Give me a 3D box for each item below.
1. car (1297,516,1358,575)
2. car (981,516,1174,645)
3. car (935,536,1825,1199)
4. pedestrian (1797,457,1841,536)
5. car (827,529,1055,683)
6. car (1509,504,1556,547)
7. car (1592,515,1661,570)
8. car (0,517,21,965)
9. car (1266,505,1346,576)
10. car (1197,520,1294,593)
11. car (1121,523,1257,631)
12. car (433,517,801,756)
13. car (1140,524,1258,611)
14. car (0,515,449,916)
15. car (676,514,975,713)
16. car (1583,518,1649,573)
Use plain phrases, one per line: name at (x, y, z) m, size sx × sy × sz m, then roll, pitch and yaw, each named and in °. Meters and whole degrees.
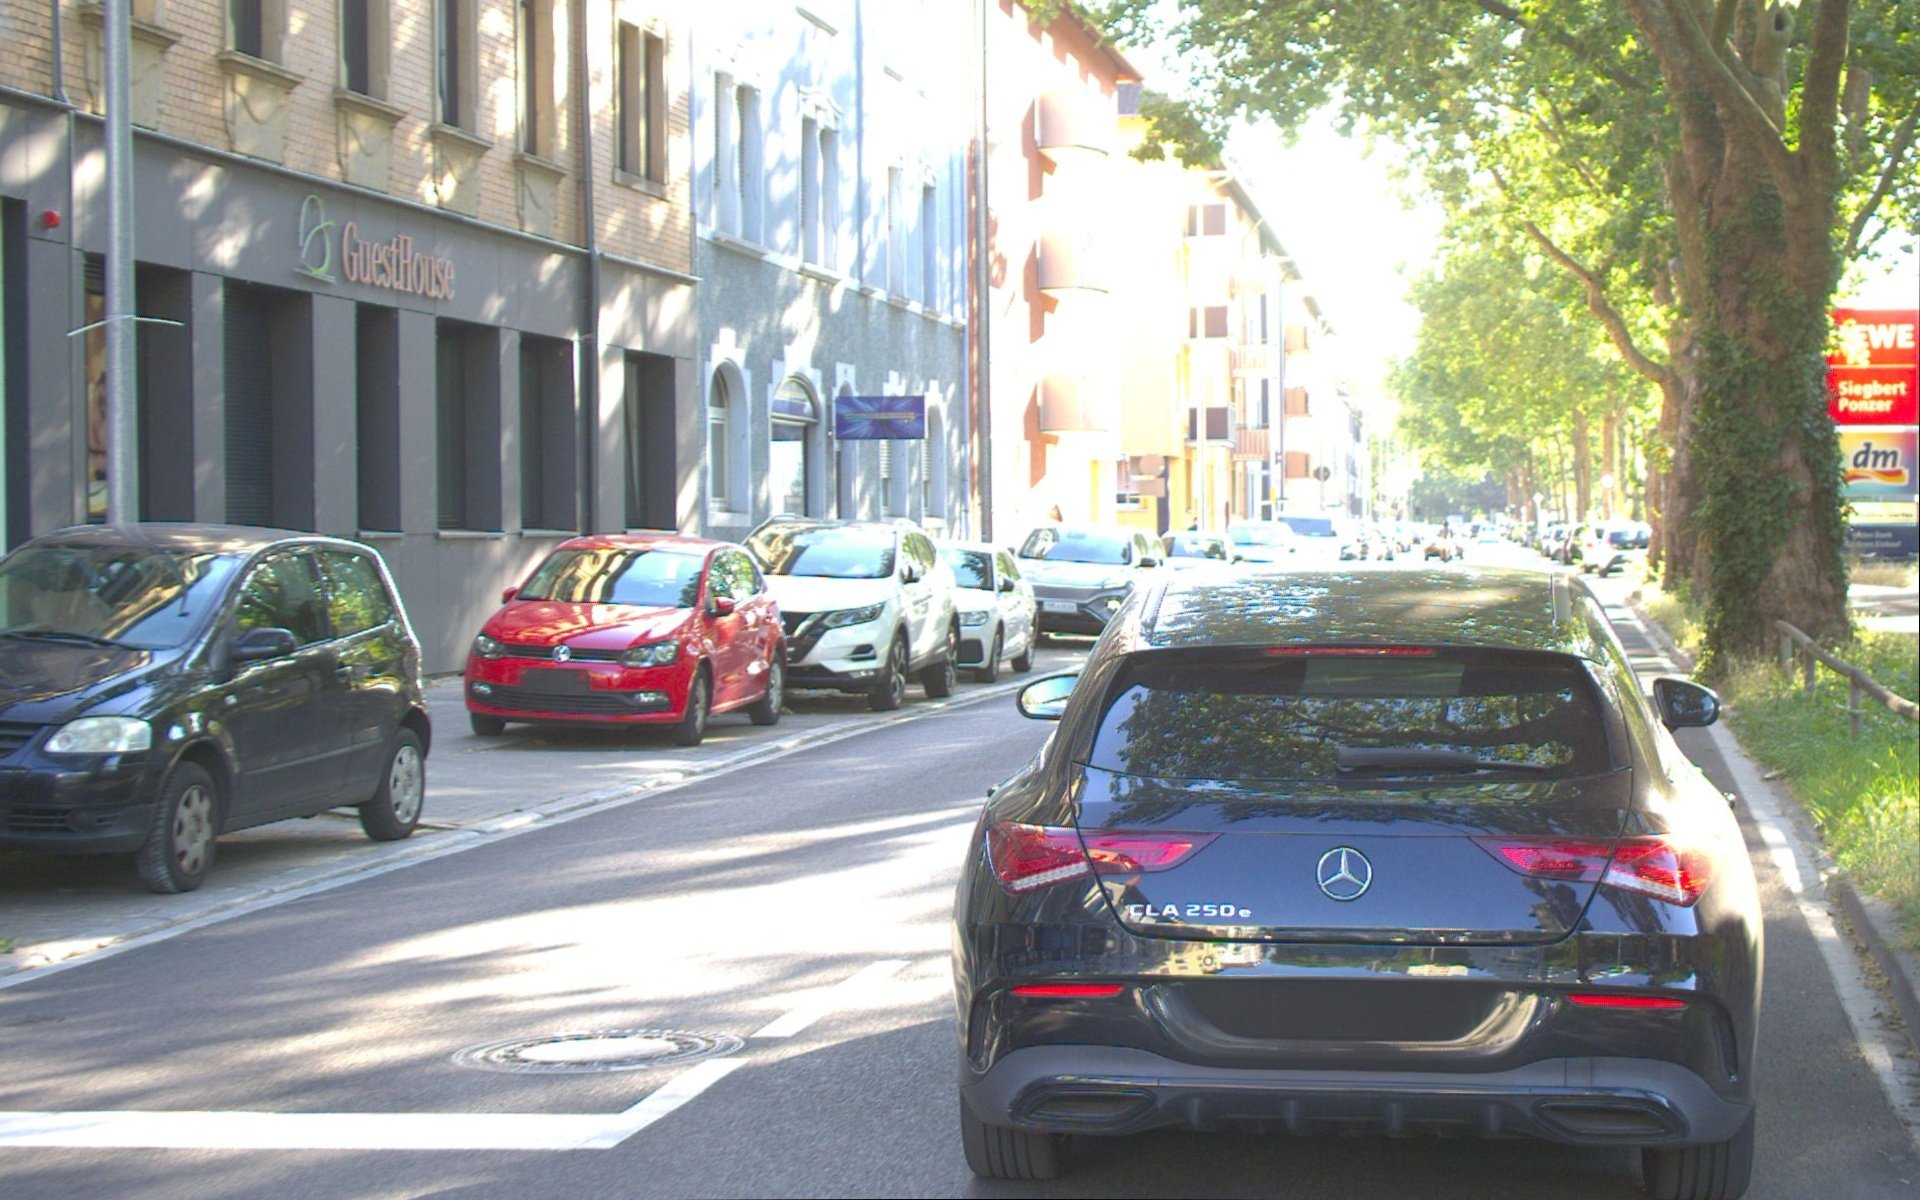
car at (11.616, -1.746, 108.377) m, size 1.746 × 1.781 × 4.548 m, roll 1°, pitch 2°, yaw 8°
car at (1.653, -0.310, 46.749) m, size 1.909 × 1.636 × 4.575 m, roll 1°, pitch 2°, yaw 11°
car at (0.860, 0.592, 8.843) m, size 1.744 × 1.438 × 3.969 m, roll 1°, pitch 2°, yaw 1°
pedestrian at (19.450, -2.345, 77.845) m, size 0.767 × 1.755 × 0.664 m, roll -2°, pitch 1°, yaw -2°
car at (-0.140, 0.023, 36.460) m, size 1.678 × 1.491 × 3.870 m, roll 1°, pitch 2°, yaw 11°
car at (28.337, -3.675, 170.284) m, size 1.994 × 2.007 × 3.999 m, roll 0°, pitch 0°, yaw 6°
car at (18.967, -1.629, 97.939) m, size 1.635 × 1.463 × 4.020 m, roll -2°, pitch 0°, yaw 8°
car at (-4.793, 0.550, 11.021) m, size 1.782 × 1.667 × 4.154 m, roll 1°, pitch 2°, yaw 11°
car at (9.632, -1.664, 95.360) m, size 1.735 × 1.900 × 5.206 m, roll 1°, pitch 1°, yaw 11°
car at (6.290, -0.968, 75.509) m, size 1.678 × 1.518 × 4.019 m, roll 1°, pitch 2°, yaw 11°
car at (3.731, -0.404, 55.546) m, size 1.678 × 1.636 × 3.983 m, roll 1°, pitch 2°, yaw 11°
car at (-2.440, 0.203, 25.329) m, size 1.678 × 1.586 × 3.755 m, roll 1°, pitch 2°, yaw 11°
car at (4.368, -0.610, 62.451) m, size 1.678 × 1.481 × 3.599 m, roll 1°, pitch 2°, yaw 11°
car at (-3.856, 0.422, 15.972) m, size 1.679 × 1.599 × 3.703 m, roll 1°, pitch 2°, yaw 13°
car at (-1.096, 0.053, 30.045) m, size 1.678 × 1.579 × 4.198 m, roll 1°, pitch 2°, yaw 11°
car at (19.955, -1.653, 104.698) m, size 1.811 × 1.533 × 4.581 m, roll -3°, pitch 0°, yaw 10°
